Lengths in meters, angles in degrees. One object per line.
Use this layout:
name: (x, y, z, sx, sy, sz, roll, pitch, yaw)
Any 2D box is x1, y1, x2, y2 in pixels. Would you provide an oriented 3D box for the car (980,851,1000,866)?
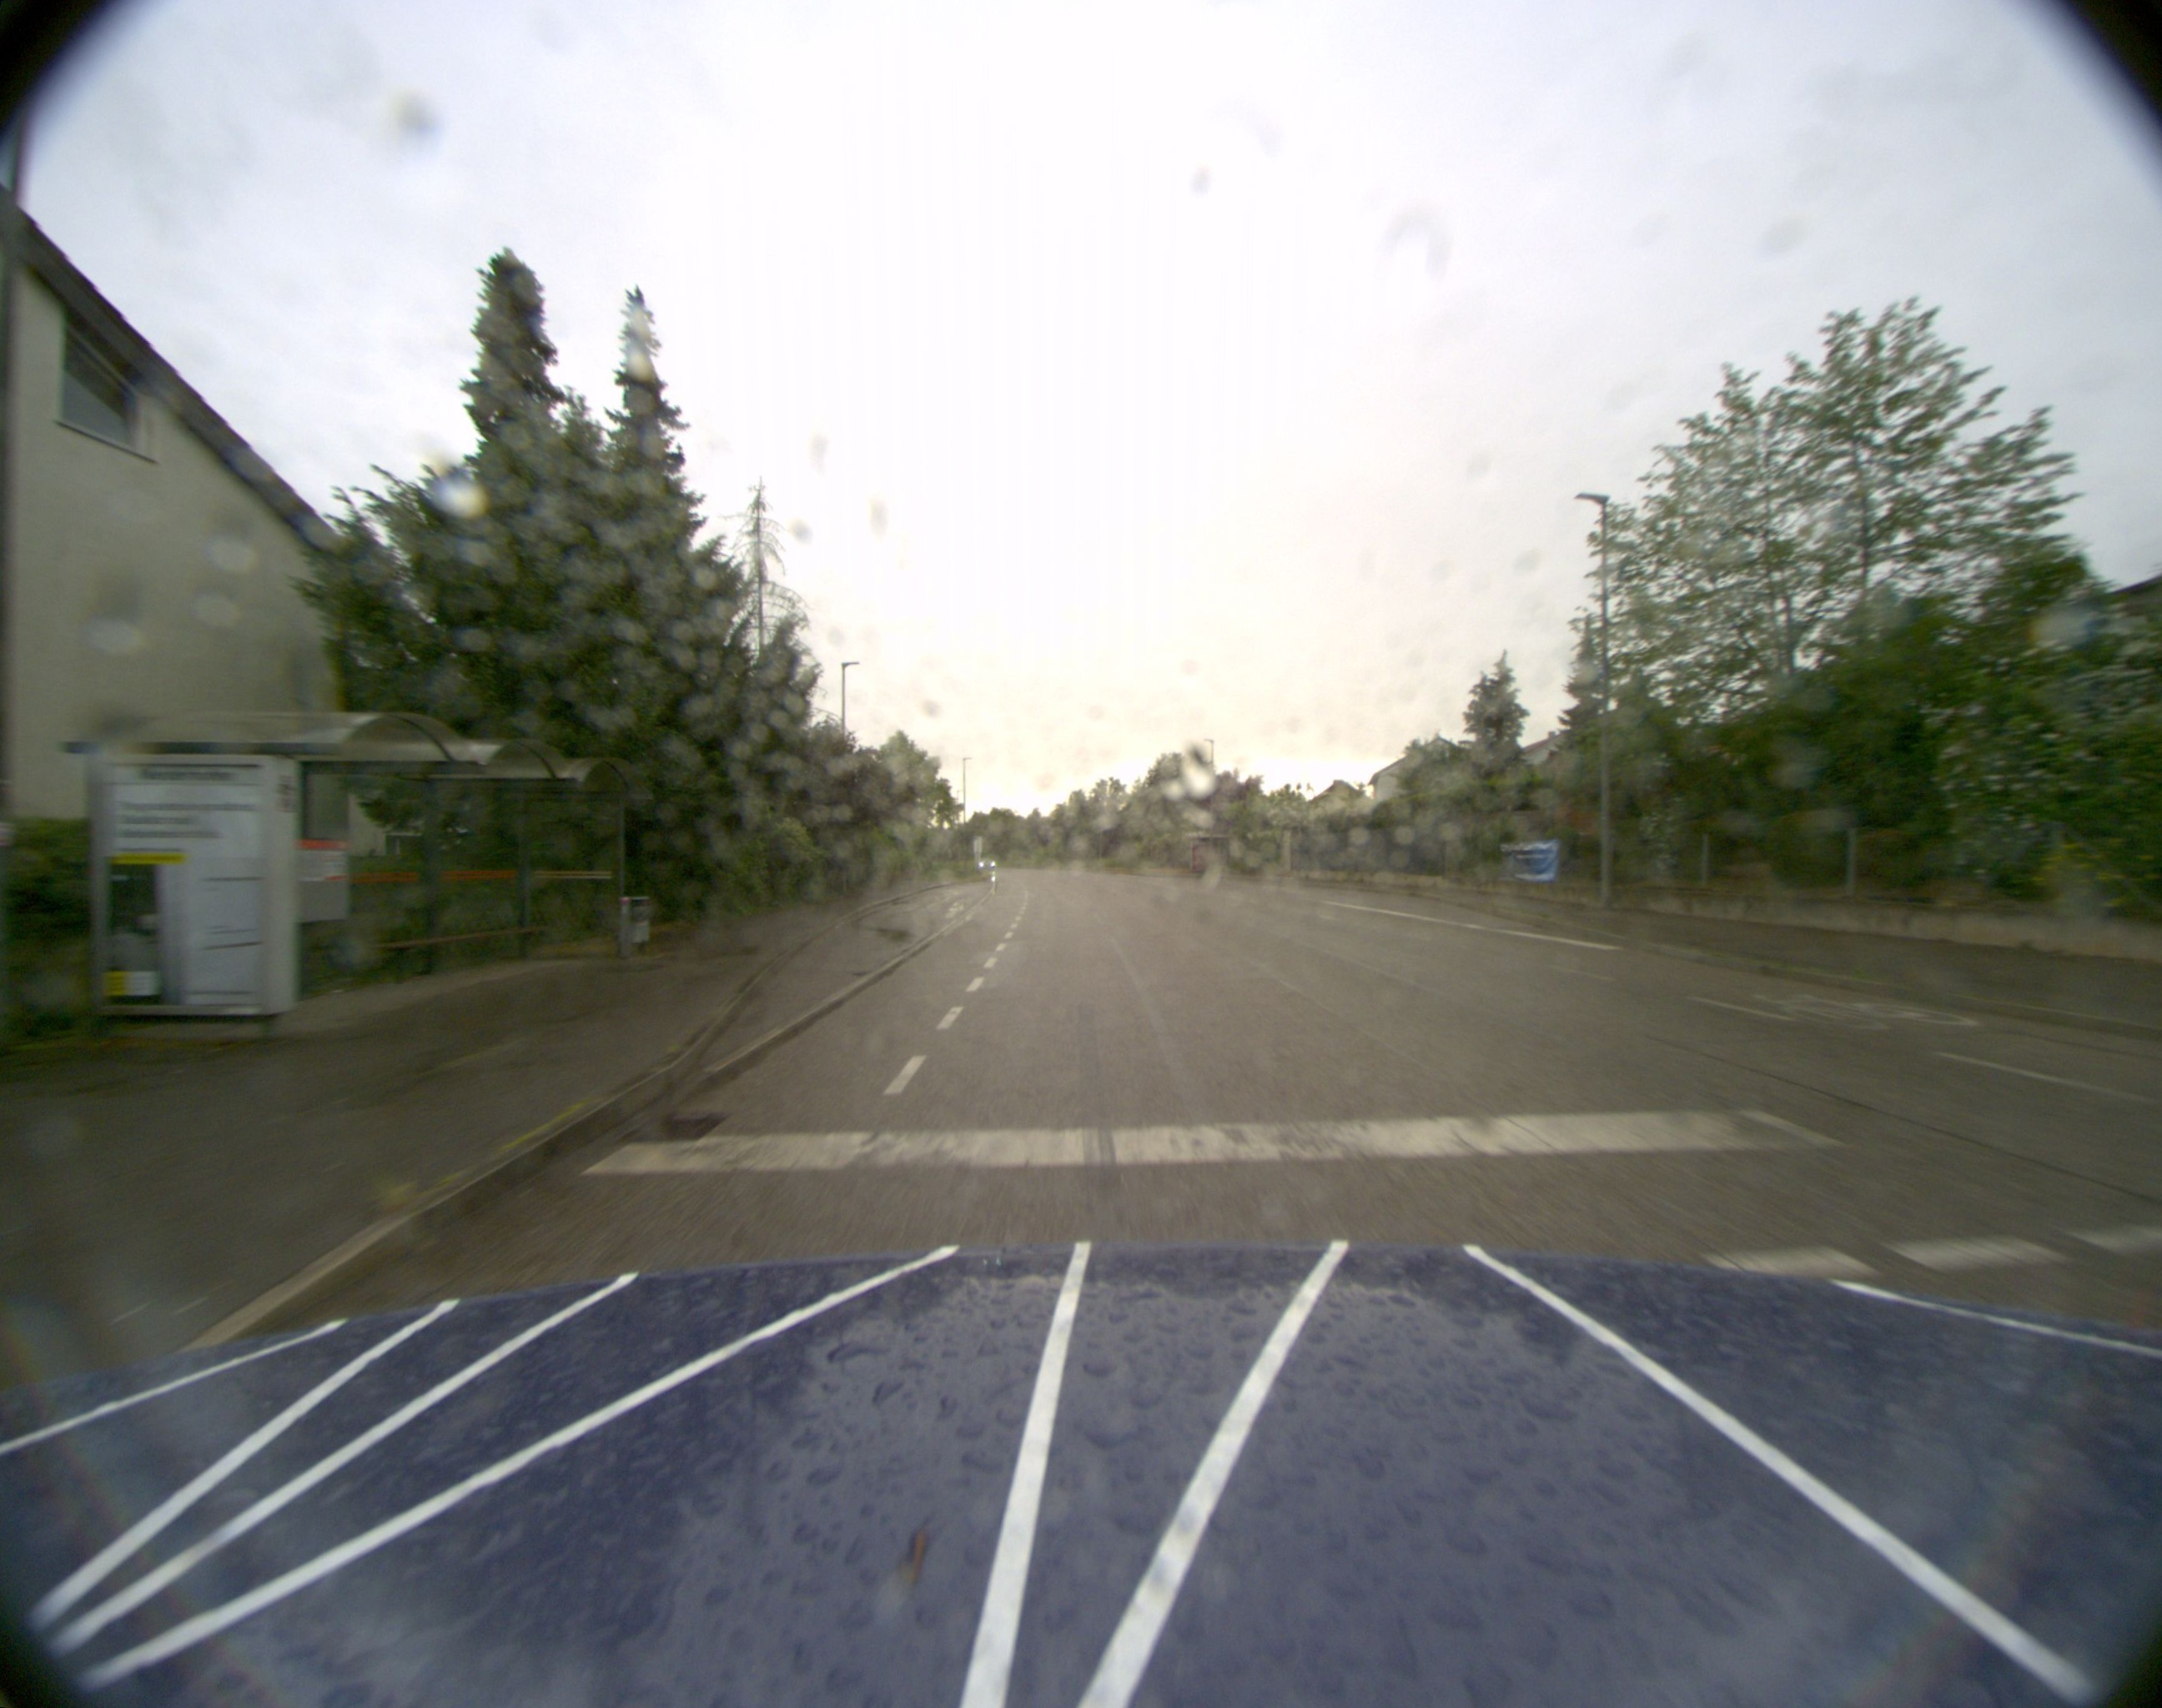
car: (-10.864, 0.536, 90.320, 2.001, 1.831, 3.995, 0, 0, -13)
